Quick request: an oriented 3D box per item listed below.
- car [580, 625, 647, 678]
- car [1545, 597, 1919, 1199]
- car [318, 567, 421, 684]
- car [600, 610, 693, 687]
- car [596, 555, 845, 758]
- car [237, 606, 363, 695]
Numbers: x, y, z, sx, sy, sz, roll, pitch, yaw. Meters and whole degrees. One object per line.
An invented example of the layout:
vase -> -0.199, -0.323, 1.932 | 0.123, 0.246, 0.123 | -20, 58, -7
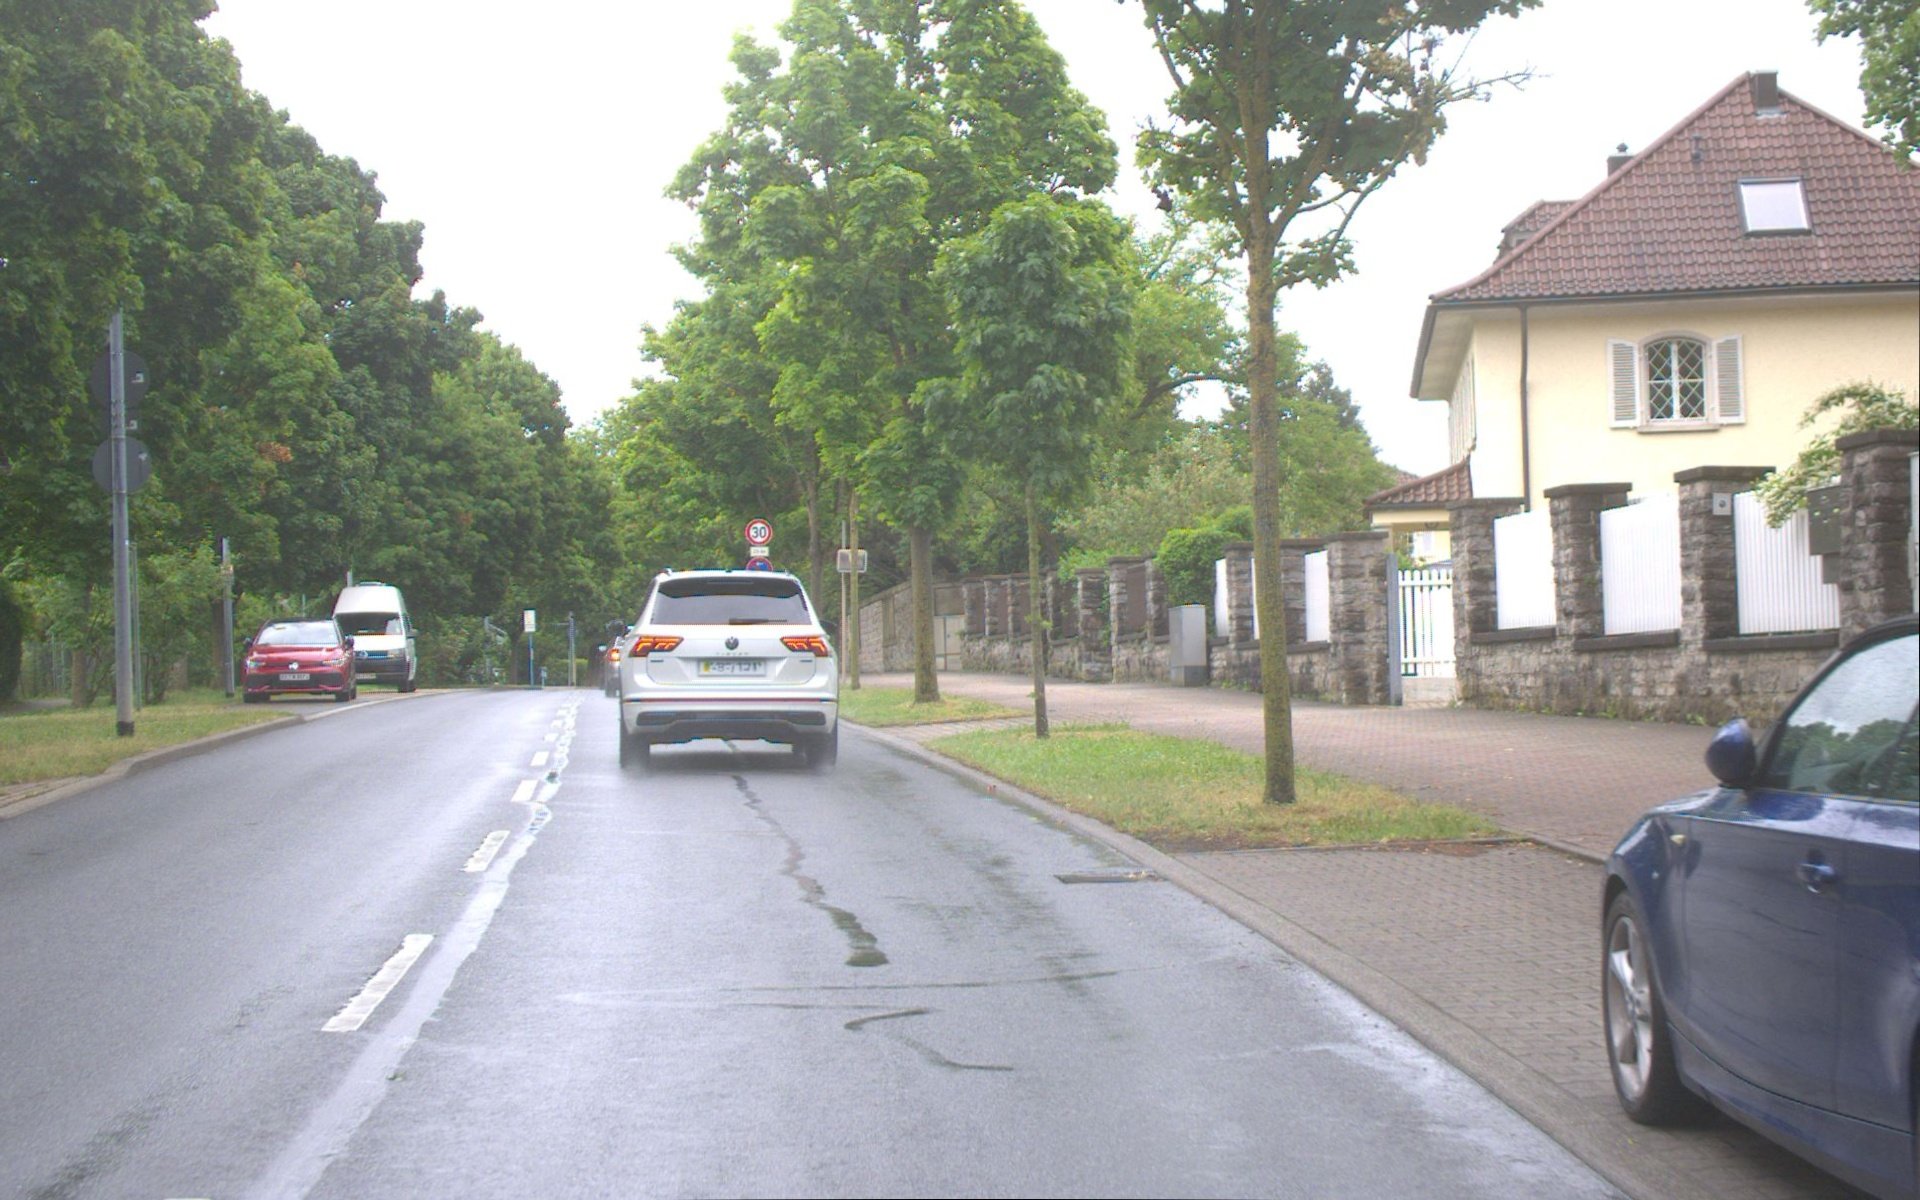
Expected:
car -> -10.025, 1.487, 99.677 | 1.852, 1.413, 4.227 | 1, 1, -5
car -> 2.549, 0.687, 7.640 | 1.641, 1.373, 3.829 | -3, 0, -2
car -> -13.485, 0.612, 78.757 | 1.993, 2.552, 5.233 | -1, -1, -7
car -> -6.444, 0.976, 70.950 | 1.840, 1.482, 4.001 | 1, 1, -5
car -> -2.104, 0.428, 29.753 | 1.996, 1.626, 4.001 | 0, 1, -5
car -> -11.355, 0.865, 59.351 | 1.843, 1.461, 4.250 | -1, -1, -7
